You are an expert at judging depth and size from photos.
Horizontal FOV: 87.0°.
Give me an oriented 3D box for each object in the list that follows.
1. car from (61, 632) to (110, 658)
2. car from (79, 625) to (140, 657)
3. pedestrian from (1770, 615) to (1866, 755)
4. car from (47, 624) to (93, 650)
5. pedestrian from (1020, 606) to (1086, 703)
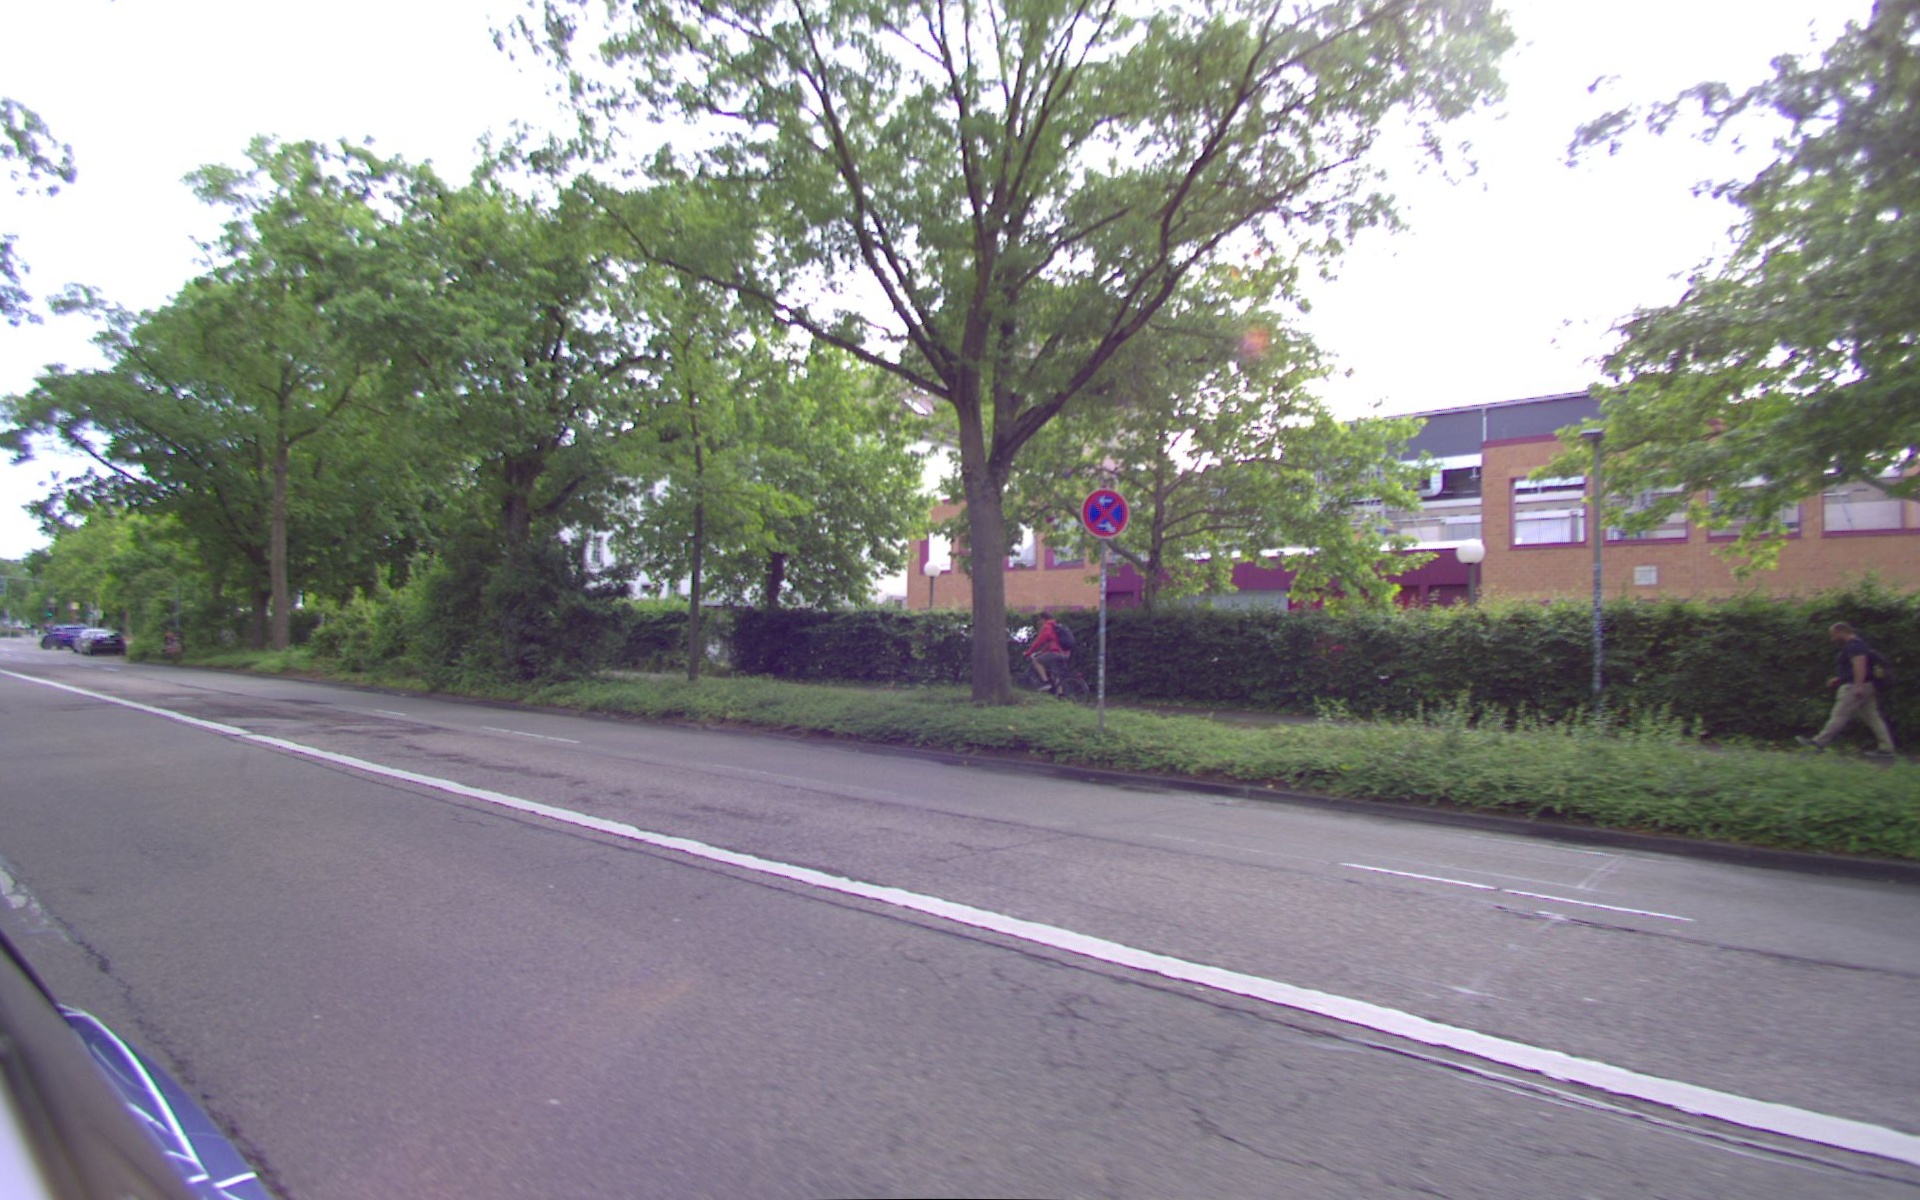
[{"bbox_3d":[-52.362,2.683,60.571,4.730,1.435,1.852,-2,-1,45],"label":"car"},{"bbox_3d":[-47.652,2.281,56.689,3.998,1.702,1.973,-1,-2,41],"label":"car"},{"bbox_3d":[11.075,1.067,13.071,0.796,1.731,0.747,1,-2,-36],"label":"pedestrian"},{"bbox_3d":[-58.889,2.429,66.942,4.592,1.620,1.839,-2,-2,43],"label":"car"},{"bbox_3d":[1.614,0.919,17.551,0.848,1.626,0.783,-2,-2,41],"label":"pedestrian"}]
